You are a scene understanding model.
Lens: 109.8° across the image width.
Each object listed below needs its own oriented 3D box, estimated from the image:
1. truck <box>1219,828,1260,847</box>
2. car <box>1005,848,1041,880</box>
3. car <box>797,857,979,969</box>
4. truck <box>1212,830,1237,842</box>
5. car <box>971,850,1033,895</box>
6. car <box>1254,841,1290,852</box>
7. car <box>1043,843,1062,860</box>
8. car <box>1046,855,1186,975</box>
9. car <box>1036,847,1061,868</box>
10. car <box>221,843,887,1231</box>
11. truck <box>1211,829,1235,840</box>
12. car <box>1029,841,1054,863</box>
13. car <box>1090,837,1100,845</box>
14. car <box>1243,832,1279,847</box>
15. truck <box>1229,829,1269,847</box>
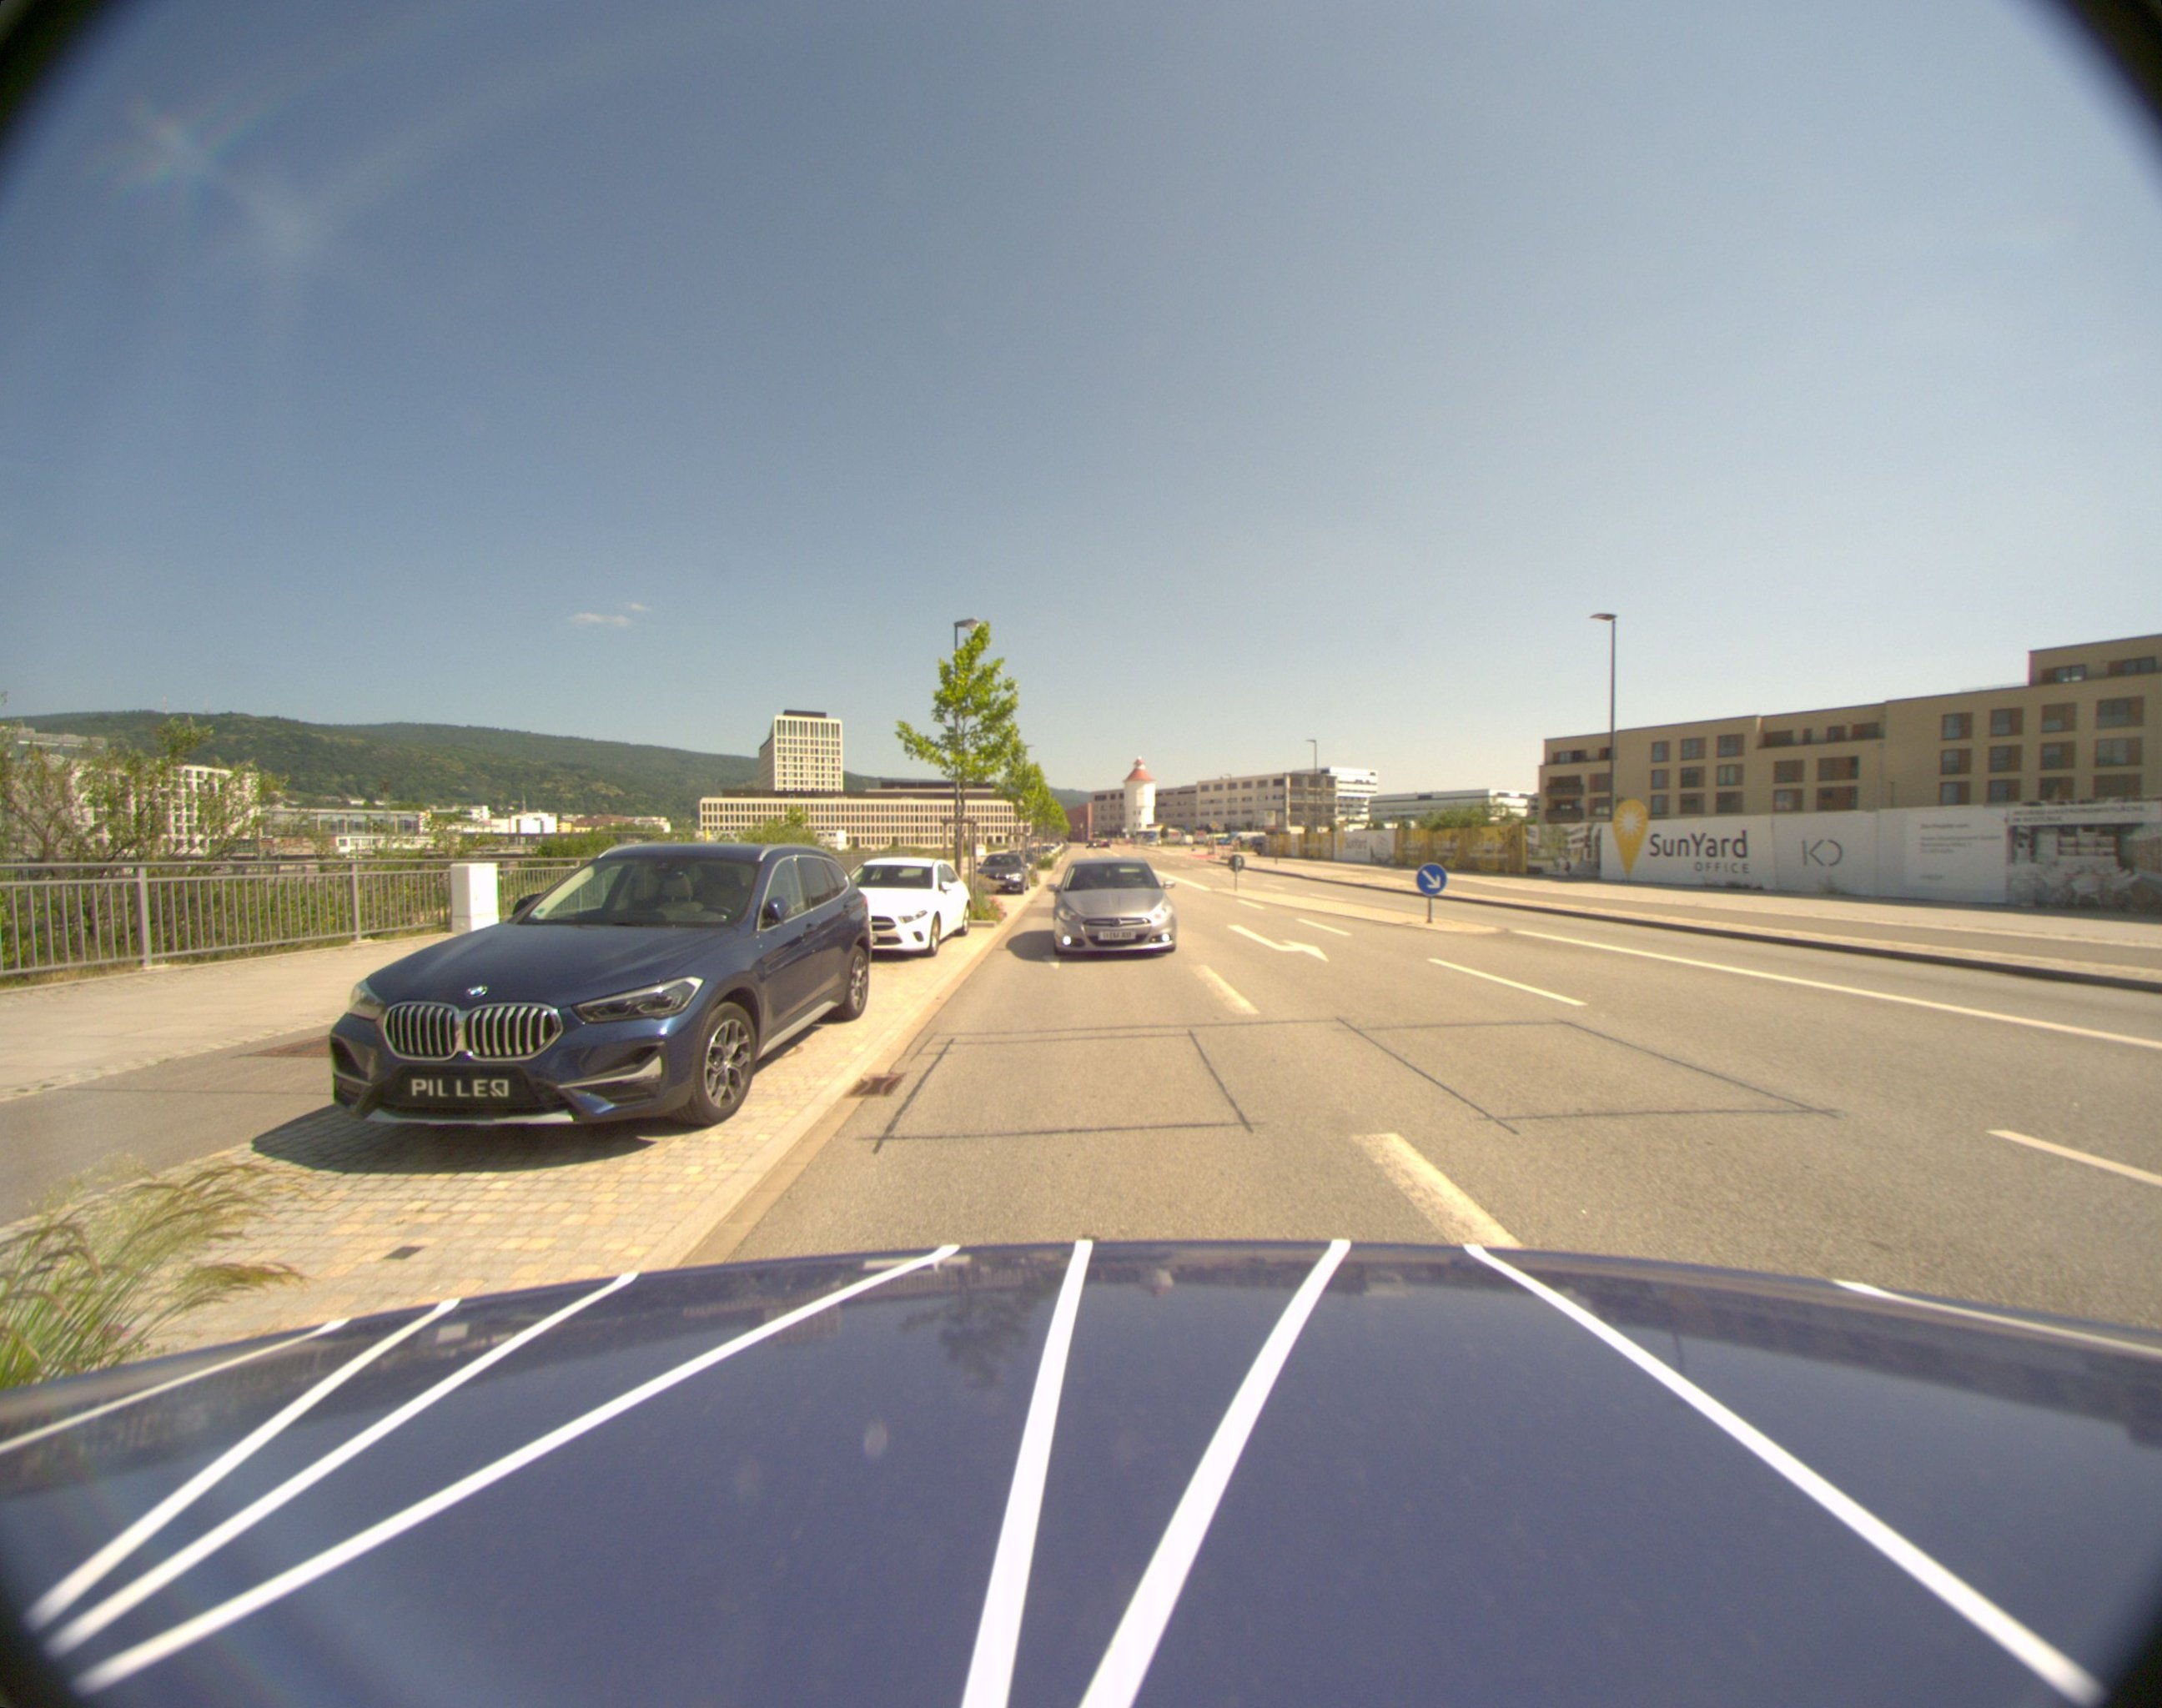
[{"bbox_3d":[23.661,-2.453,113.347,5.633,2.461,1.999,-3,1,-4],"label":"truck"},{"bbox_3d":[-2.916,0.465,38.652,1.569,1.465,3.006,2,1,0],"label":"car"},{"bbox_3d":[-2.916,0.811,12.450,1.710,1.366,4.270,2,1,2],"label":"car"},{"bbox_3d":[33.389,-4.171,177.312,5.333,2.461,1.999,-3,1,-4],"label":"truck"},{"bbox_3d":[-2.807,0.634,27.862,1.808,1.424,3.915,2,1,0],"label":"car"},{"bbox_3d":[19.610,-0.754,77.979,3.359,0.947,1.293,-2,1,3],"label":"car"},{"bbox_3d":[-2.632,-0.272,70.163,1.526,1.482,3.504,-3,1,0],"label":"car"},{"bbox_3d":[0.496,0.805,12.138,1.820,1.459,4.346,-1,1,1],"label":"car"},{"bbox_3d":[-2.170,0.228,50.695,1.490,1.302,3.154,2,1,0],"label":"car"},{"bbox_3d":[-2.859,0.782,5.479,1.808,1.674,4.270,1,1,0],"label":"car"},{"bbox_3d":[34.603,-4.661,185.350,5.412,2.461,1.999,-2,1,-2],"label":"truck"},{"bbox_3d":[-3.128,-0.152,60.994,1.768,1.609,3.373,-3,1,0],"label":"car"},{"bbox_3d":[2.748,-2.452,145.431,1.819,1.458,4.347,-3,1,2],"label":"car"},{"bbox_3d":[22.873,-1.865,96.584,3.930,1.708,1.891,-3,1,-5],"label":"car"},{"bbox_3d":[23.319,-2.244,105.646,5.005,2.215,1.999,-2,1,-1],"label":"truck"}]
